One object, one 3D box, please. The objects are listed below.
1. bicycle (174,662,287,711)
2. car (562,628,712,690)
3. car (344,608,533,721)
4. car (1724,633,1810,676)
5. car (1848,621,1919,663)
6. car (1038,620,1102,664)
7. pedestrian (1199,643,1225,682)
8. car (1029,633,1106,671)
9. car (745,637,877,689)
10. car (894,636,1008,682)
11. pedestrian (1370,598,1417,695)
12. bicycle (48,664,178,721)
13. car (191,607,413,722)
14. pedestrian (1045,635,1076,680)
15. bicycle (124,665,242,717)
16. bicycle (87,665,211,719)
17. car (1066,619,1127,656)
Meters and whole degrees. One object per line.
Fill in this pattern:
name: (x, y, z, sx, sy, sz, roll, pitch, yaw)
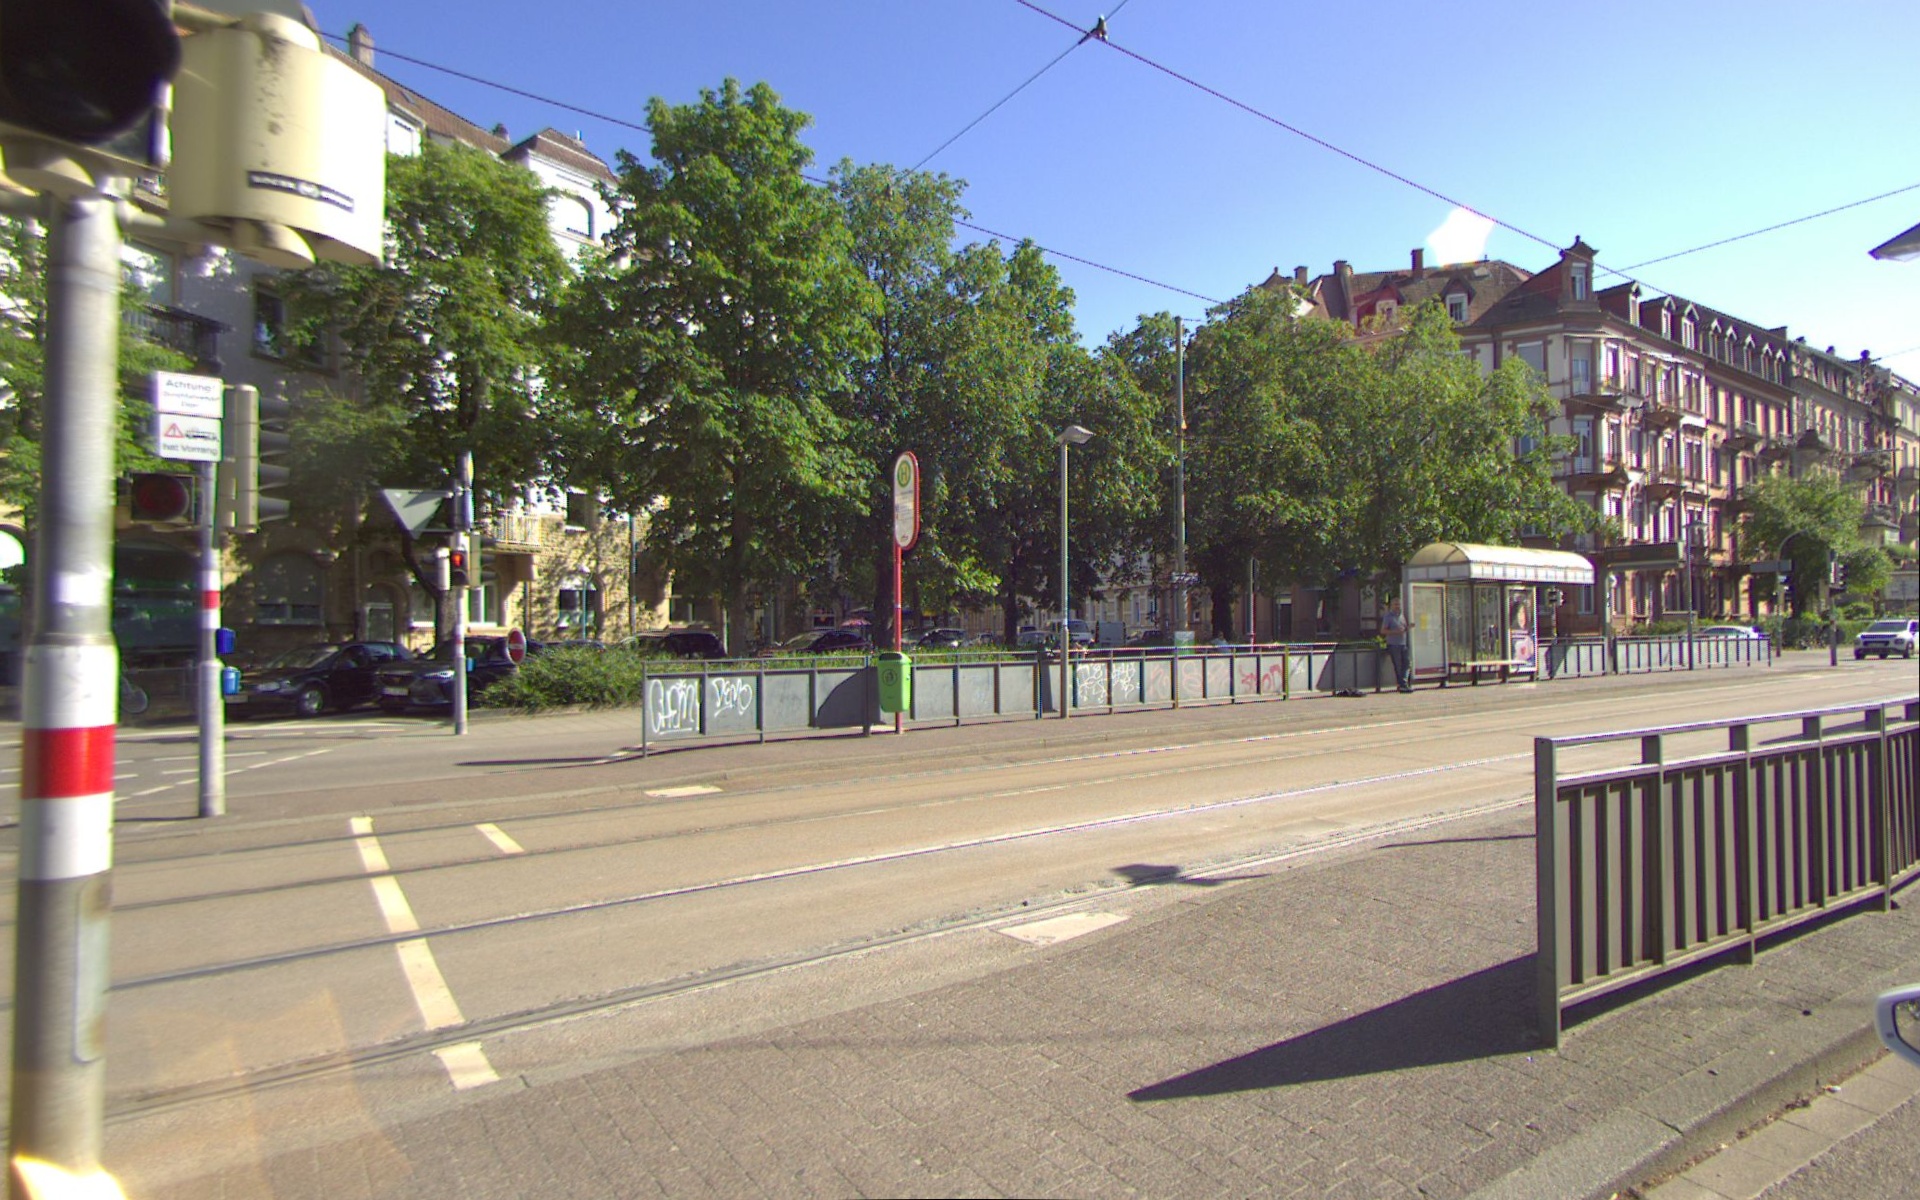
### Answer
bicycle: (-15.518, 1.833, 21.390, 1.997, 0.993, 0.611, 0, -1, 4)
car: (-8.371, 1.503, 26.382, 1.719, 1.450, 4.001, -2, -1, 18)
car: (-10.339, 1.231, 20.295, 1.962, 2.040, 3.998, 1, -1, -5)
car: (32.389, 2.146, 40.287, 3.963, 1.639, 1.763, 2, -2, -37)
car: (38.212, 1.691, 41.321, 3.963, 1.639, 1.763, 2, -2, -37)
car: (5.426, 2.051, 50.027, 1.964, 2.040, 4.581, 1, -1, -10)
pedestrian: (8.054, 2.004, 32.056, 0.598, 1.217, 0.577, -3, -3, 38)
car: (4.618, 2.189, 42.655, 1.723, 1.450, 3.991, -2, -2, 31)
car: (-4.719, 1.977, 32.160, 1.729, 1.450, 3.978, -3, -2, 42)
car: (-0.288, 2.095, 36.097, 3.972, 1.450, 1.731, 0, -2, -44)
pedestrian: (8.330, 0.883, 19.308, 0.574, 1.818, 0.602, 0, -2, -37)
bicycle: (-16.033, 1.741, 19.036, 1.997, 0.993, 0.611, 0, -1, 4)
car: (-12.862, 1.205, 19.982, 1.962, 2.040, 3.998, 1, -1, -5)
pedestrian: (2.752, 1.579, 27.571, 0.598, 1.217, 0.577, -3, -3, 38)
bicycle: (-15.939, 1.857, 20.616, 1.997, 0.993, 0.611, 0, -1, 4)
bicycle: (-15.995, 1.804, 19.832, 1.997, 0.993, 0.611, 0, -1, 4)
car: (7.767, 2.115, 57.613, 1.965, 2.040, 5.019, 1, -1, -12)
